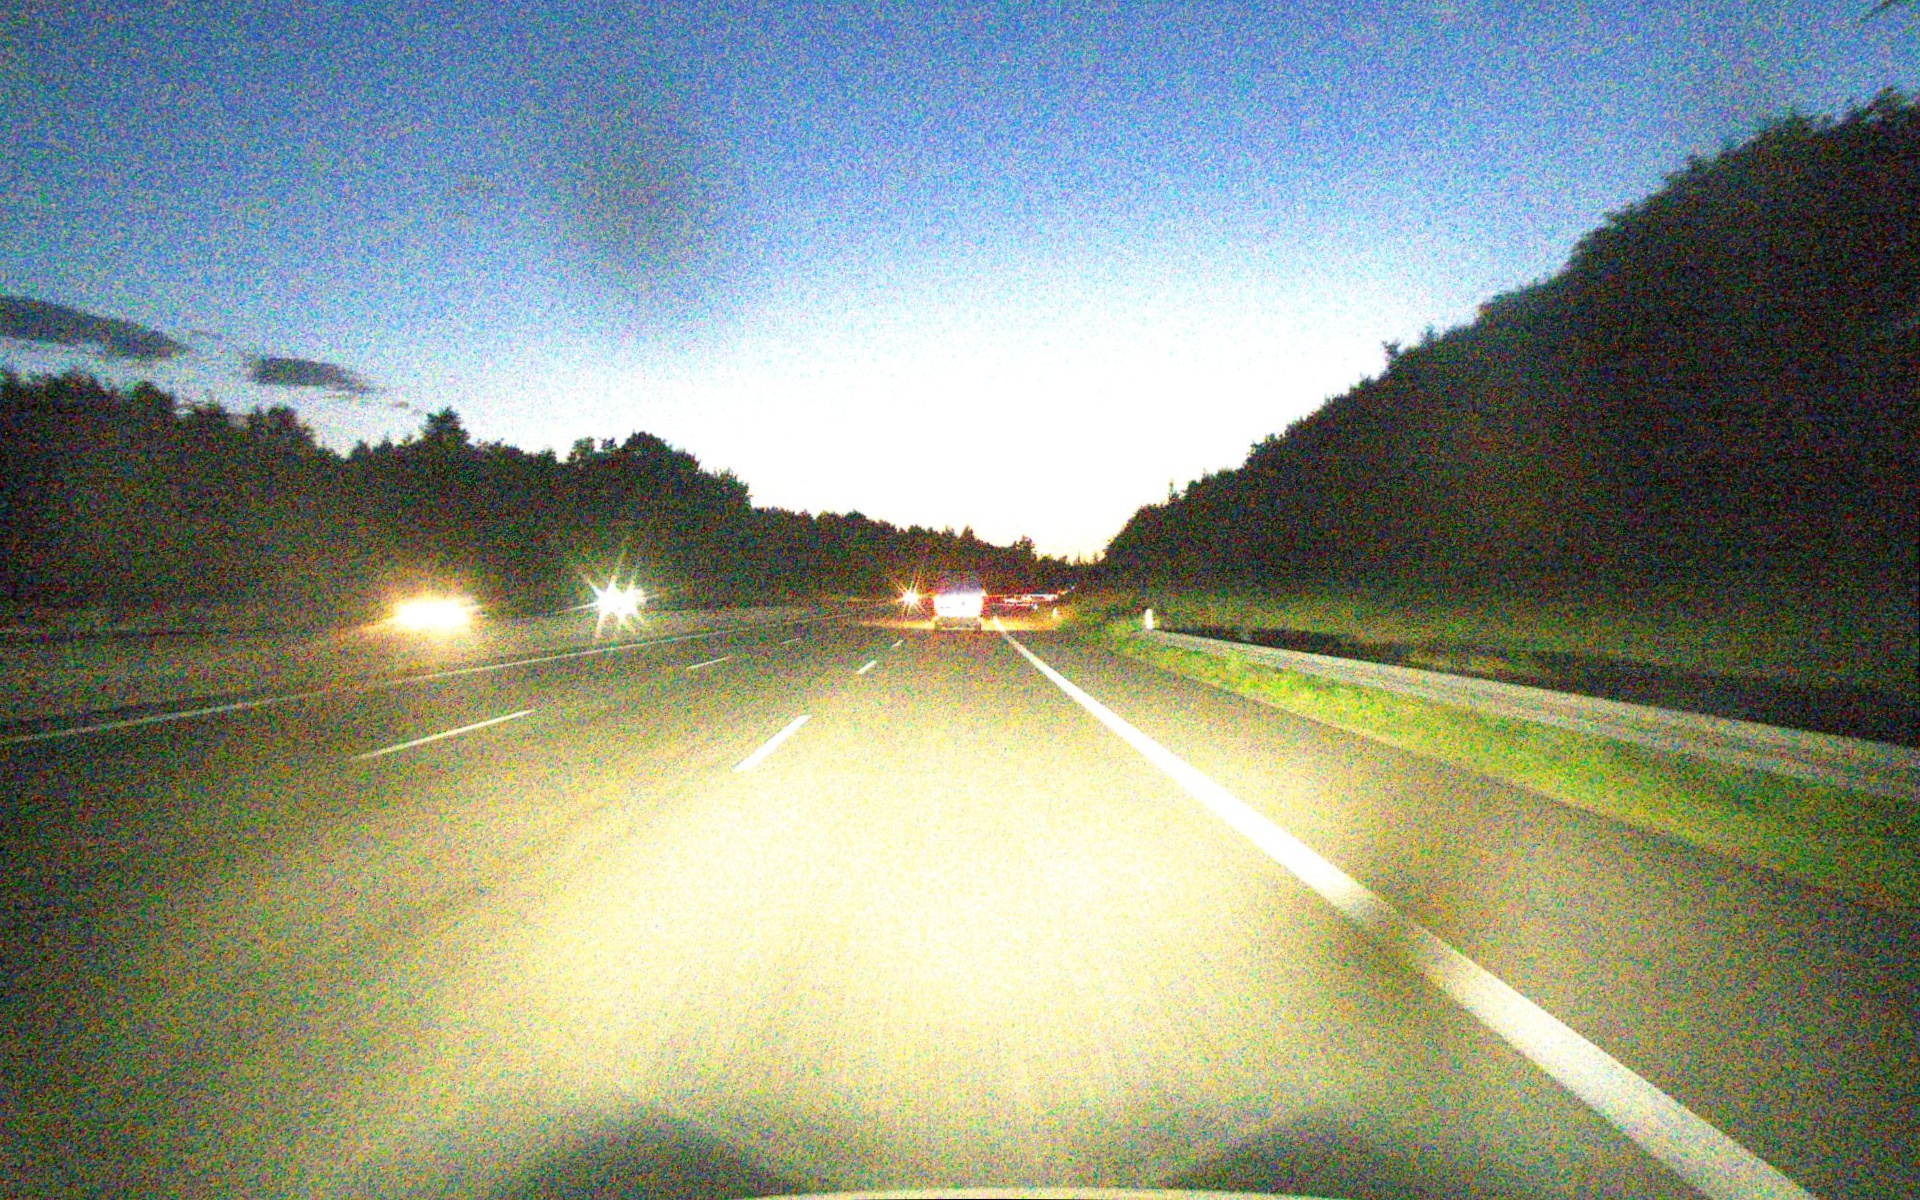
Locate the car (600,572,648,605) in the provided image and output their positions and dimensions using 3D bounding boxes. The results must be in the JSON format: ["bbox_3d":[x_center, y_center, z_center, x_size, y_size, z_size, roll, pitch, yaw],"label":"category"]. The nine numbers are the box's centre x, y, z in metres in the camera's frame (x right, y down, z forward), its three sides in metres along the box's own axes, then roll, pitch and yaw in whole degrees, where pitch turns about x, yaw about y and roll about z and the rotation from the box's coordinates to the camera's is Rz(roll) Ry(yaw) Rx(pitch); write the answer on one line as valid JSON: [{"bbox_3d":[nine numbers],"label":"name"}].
[{"bbox_3d":[-21.721,-0.710,107.018,1.984,2.049,5.187,1,0,0],"label":"car"}]

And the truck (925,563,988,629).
[{"bbox_3d":[-0.219,-0.151,72.814,2.577,2.670,8.682,1,0,-1],"label":"truck"}]

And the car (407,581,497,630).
[{"bbox_3d":[-18.037,0.203,58.898,1.953,1.630,4.212,1,0,-1],"label":"car"}]
